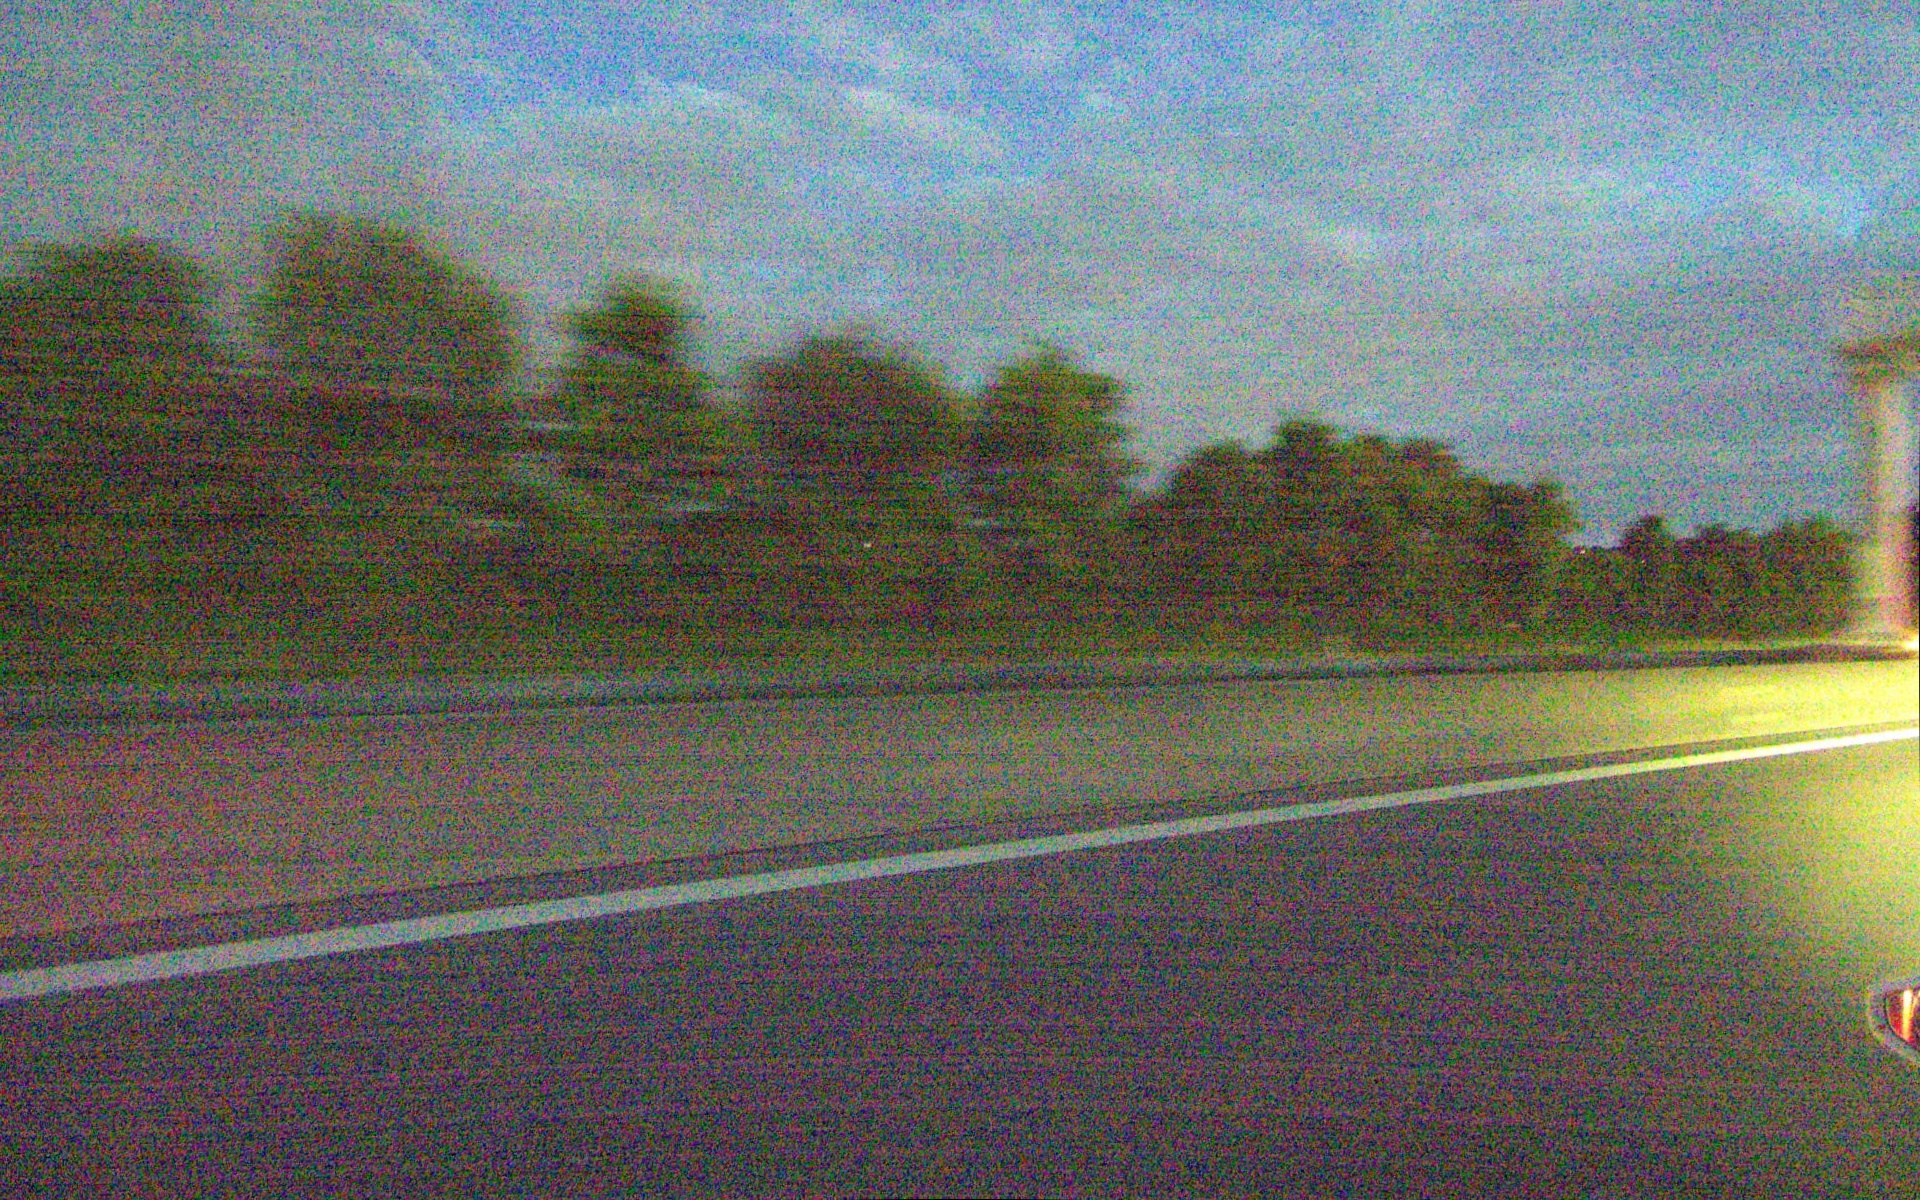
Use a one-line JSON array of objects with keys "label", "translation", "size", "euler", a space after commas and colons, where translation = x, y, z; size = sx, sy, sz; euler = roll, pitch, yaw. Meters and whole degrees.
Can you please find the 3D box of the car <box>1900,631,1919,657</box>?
[{"label": "car", "translation": [50.565, 2.265, 51.808], "size": [4.297, 1.299, 1.895], "euler": [1, -1, -30]}]
